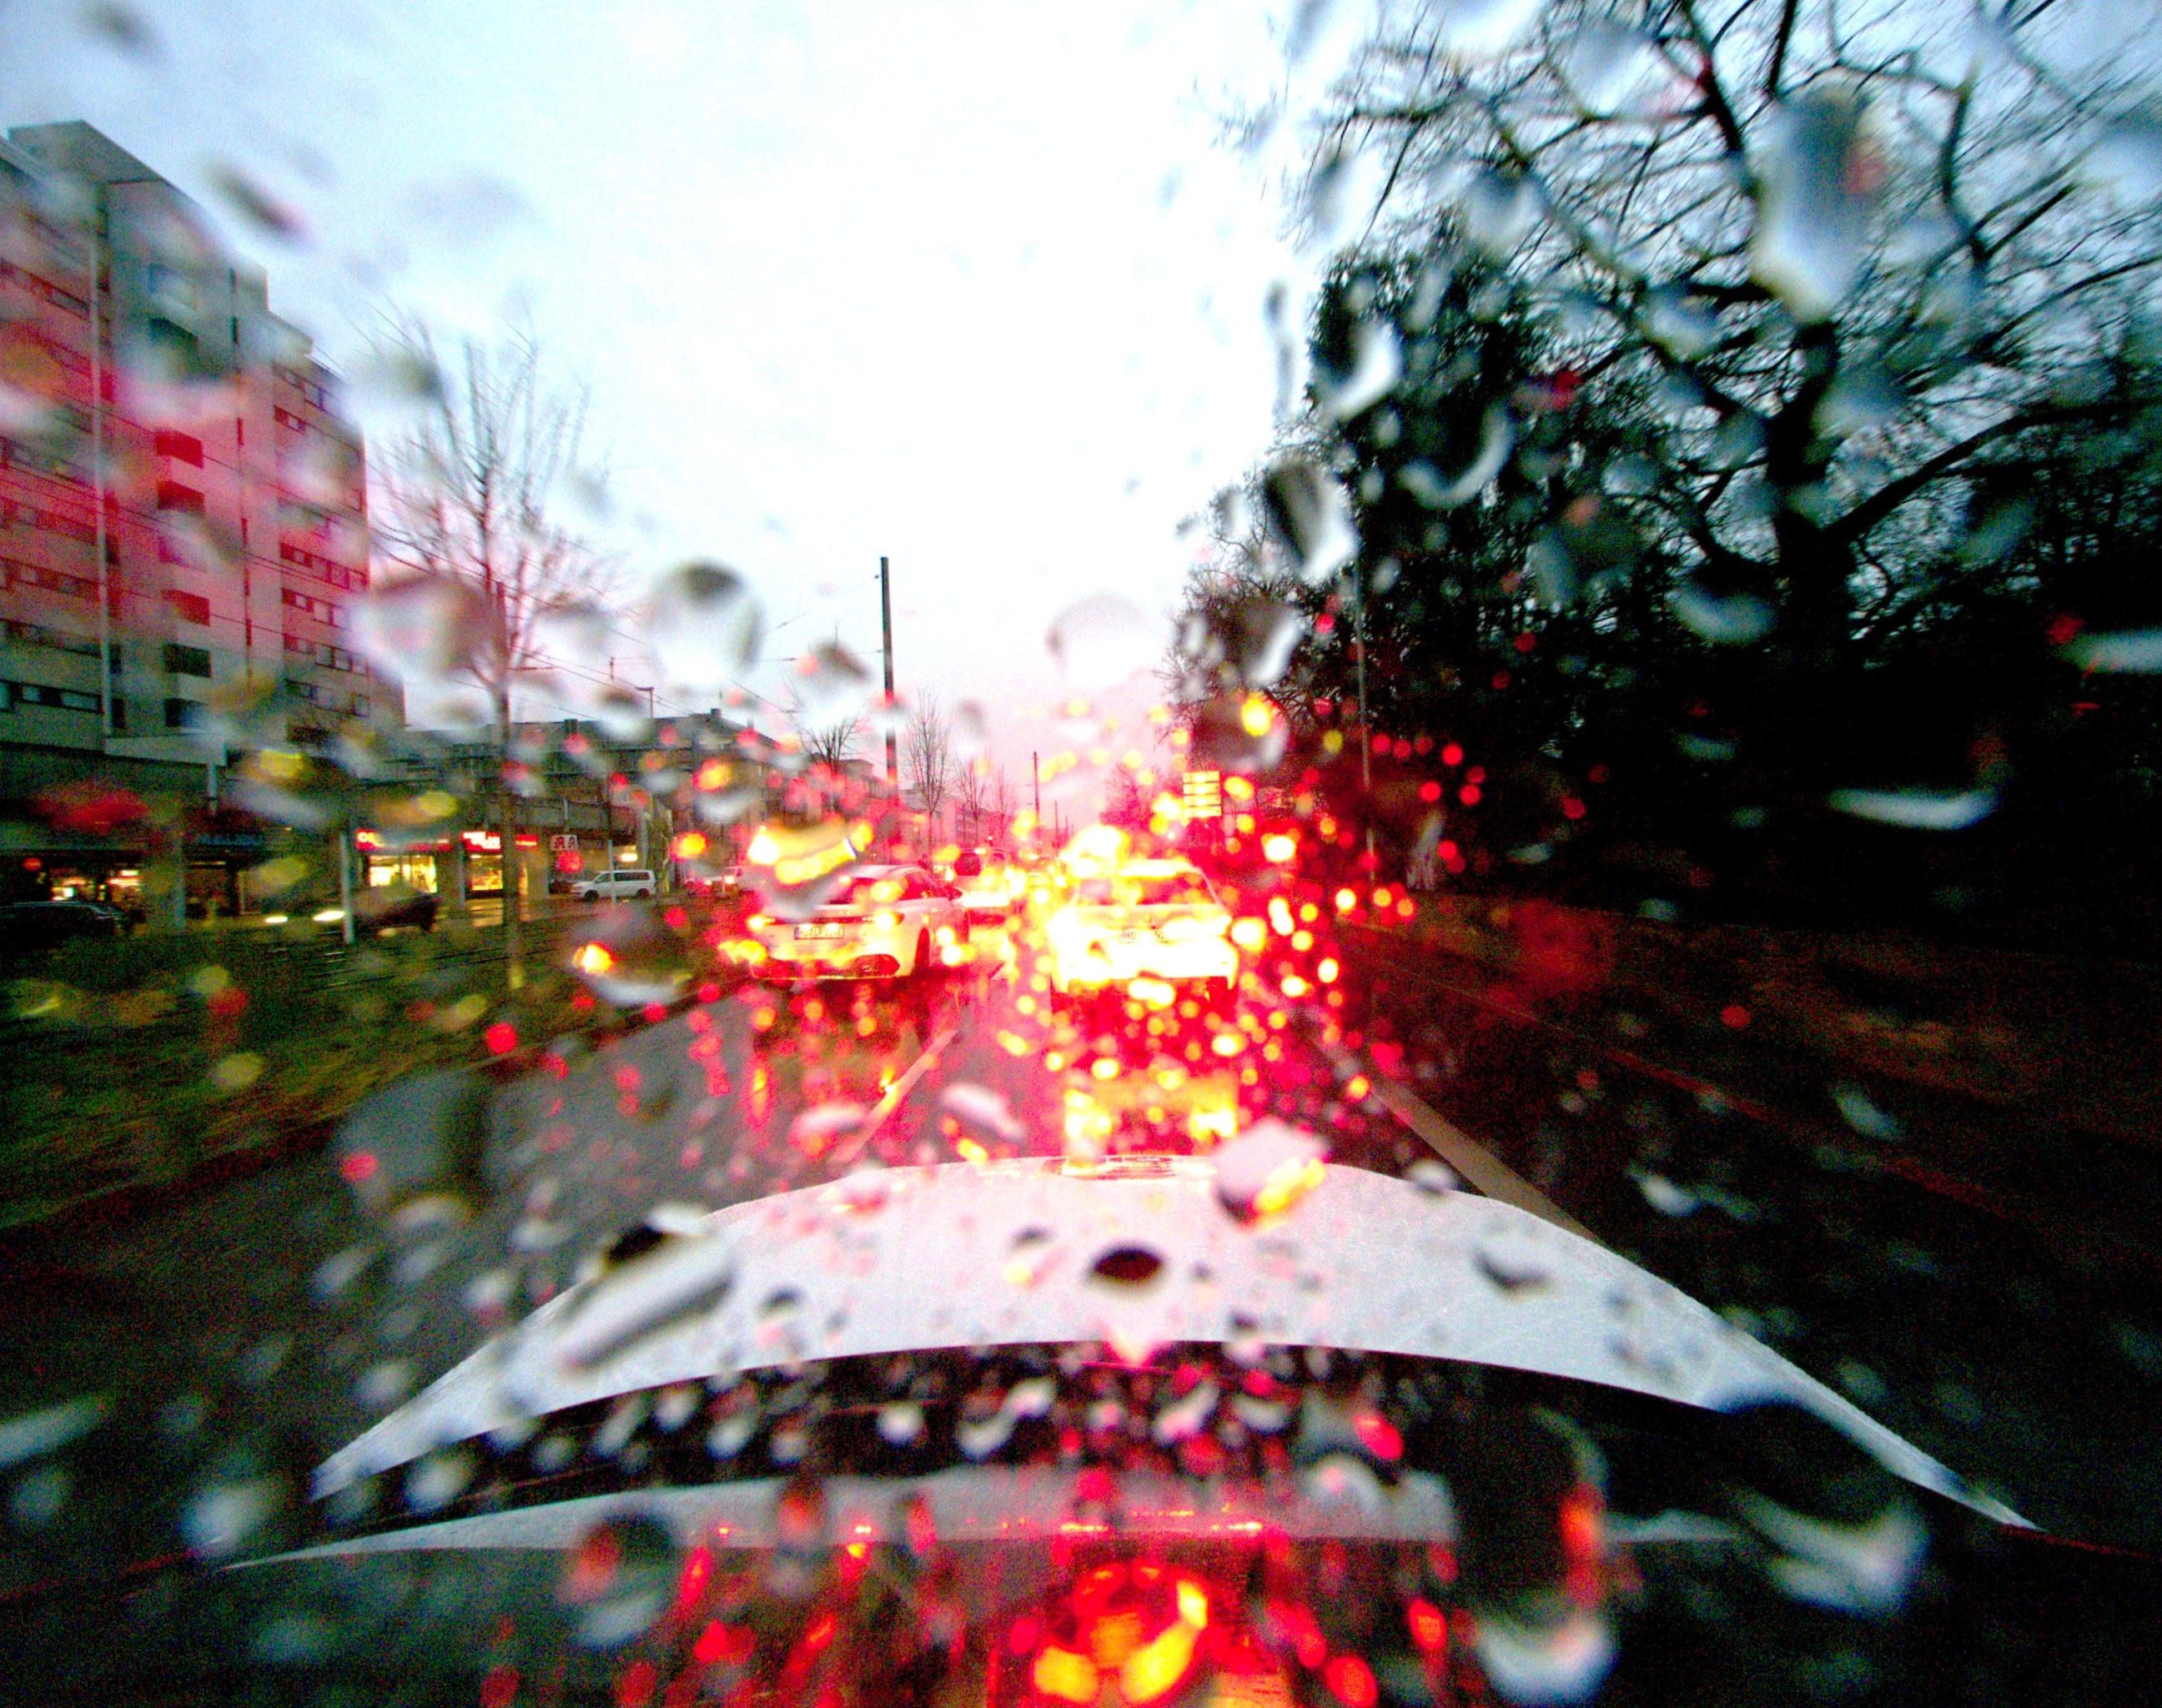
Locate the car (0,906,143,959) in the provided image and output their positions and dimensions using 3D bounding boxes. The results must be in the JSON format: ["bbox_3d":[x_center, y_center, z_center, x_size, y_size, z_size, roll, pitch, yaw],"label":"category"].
[{"bbox_3d":[-31.530,2.338,24.433,4.015,1.387,1.916,1,-1,-34],"label":"car"}]

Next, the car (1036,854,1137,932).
[{"bbox_3d":[0.170,0.758,17.894,1.928,1.457,4.165,-1,0,2],"label":"car"}]

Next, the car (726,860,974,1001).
[{"bbox_3d":[-2.669,0.798,10.640,1.840,1.405,4.614,-1,0,1],"label":"car"}]

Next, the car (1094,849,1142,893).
[{"bbox_3d":[1.487,0.645,33.030,1.800,1.646,4.002,-1,0,2],"label":"car"}]

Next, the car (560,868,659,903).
[{"bbox_3d":[-30.642,2.031,53.067,5.193,1.912,1.975,-3,0,-44],"label":"car"}]

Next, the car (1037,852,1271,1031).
[{"bbox_3d":[0.697,0.762,9.160,1.992,1.508,4.165,-1,0,2],"label":"car"}]

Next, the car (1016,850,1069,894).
[{"bbox_3d":[-1.524,0.689,33.565,1.800,1.646,4.002,-1,0,2],"label":"car"}]

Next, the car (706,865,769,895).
[{"bbox_3d":[-24.969,1.872,59.359,1.984,1.912,5.170,-3,0,4],"label":"car"}]

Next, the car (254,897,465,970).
[{"bbox_3d":[-22.393,2.396,25.628,1.886,1.719,4.924,-2,0,6],"label":"car"}]

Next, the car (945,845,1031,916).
[{"bbox_3d":[-2.436,0.675,22.446,1.787,1.736,4.537,-1,0,0],"label":"car"}]

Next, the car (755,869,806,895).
[{"bbox_3d":[-21.868,2.007,59.500,1.889,1.634,4.581,-2,0,1],"label":"car"}]
